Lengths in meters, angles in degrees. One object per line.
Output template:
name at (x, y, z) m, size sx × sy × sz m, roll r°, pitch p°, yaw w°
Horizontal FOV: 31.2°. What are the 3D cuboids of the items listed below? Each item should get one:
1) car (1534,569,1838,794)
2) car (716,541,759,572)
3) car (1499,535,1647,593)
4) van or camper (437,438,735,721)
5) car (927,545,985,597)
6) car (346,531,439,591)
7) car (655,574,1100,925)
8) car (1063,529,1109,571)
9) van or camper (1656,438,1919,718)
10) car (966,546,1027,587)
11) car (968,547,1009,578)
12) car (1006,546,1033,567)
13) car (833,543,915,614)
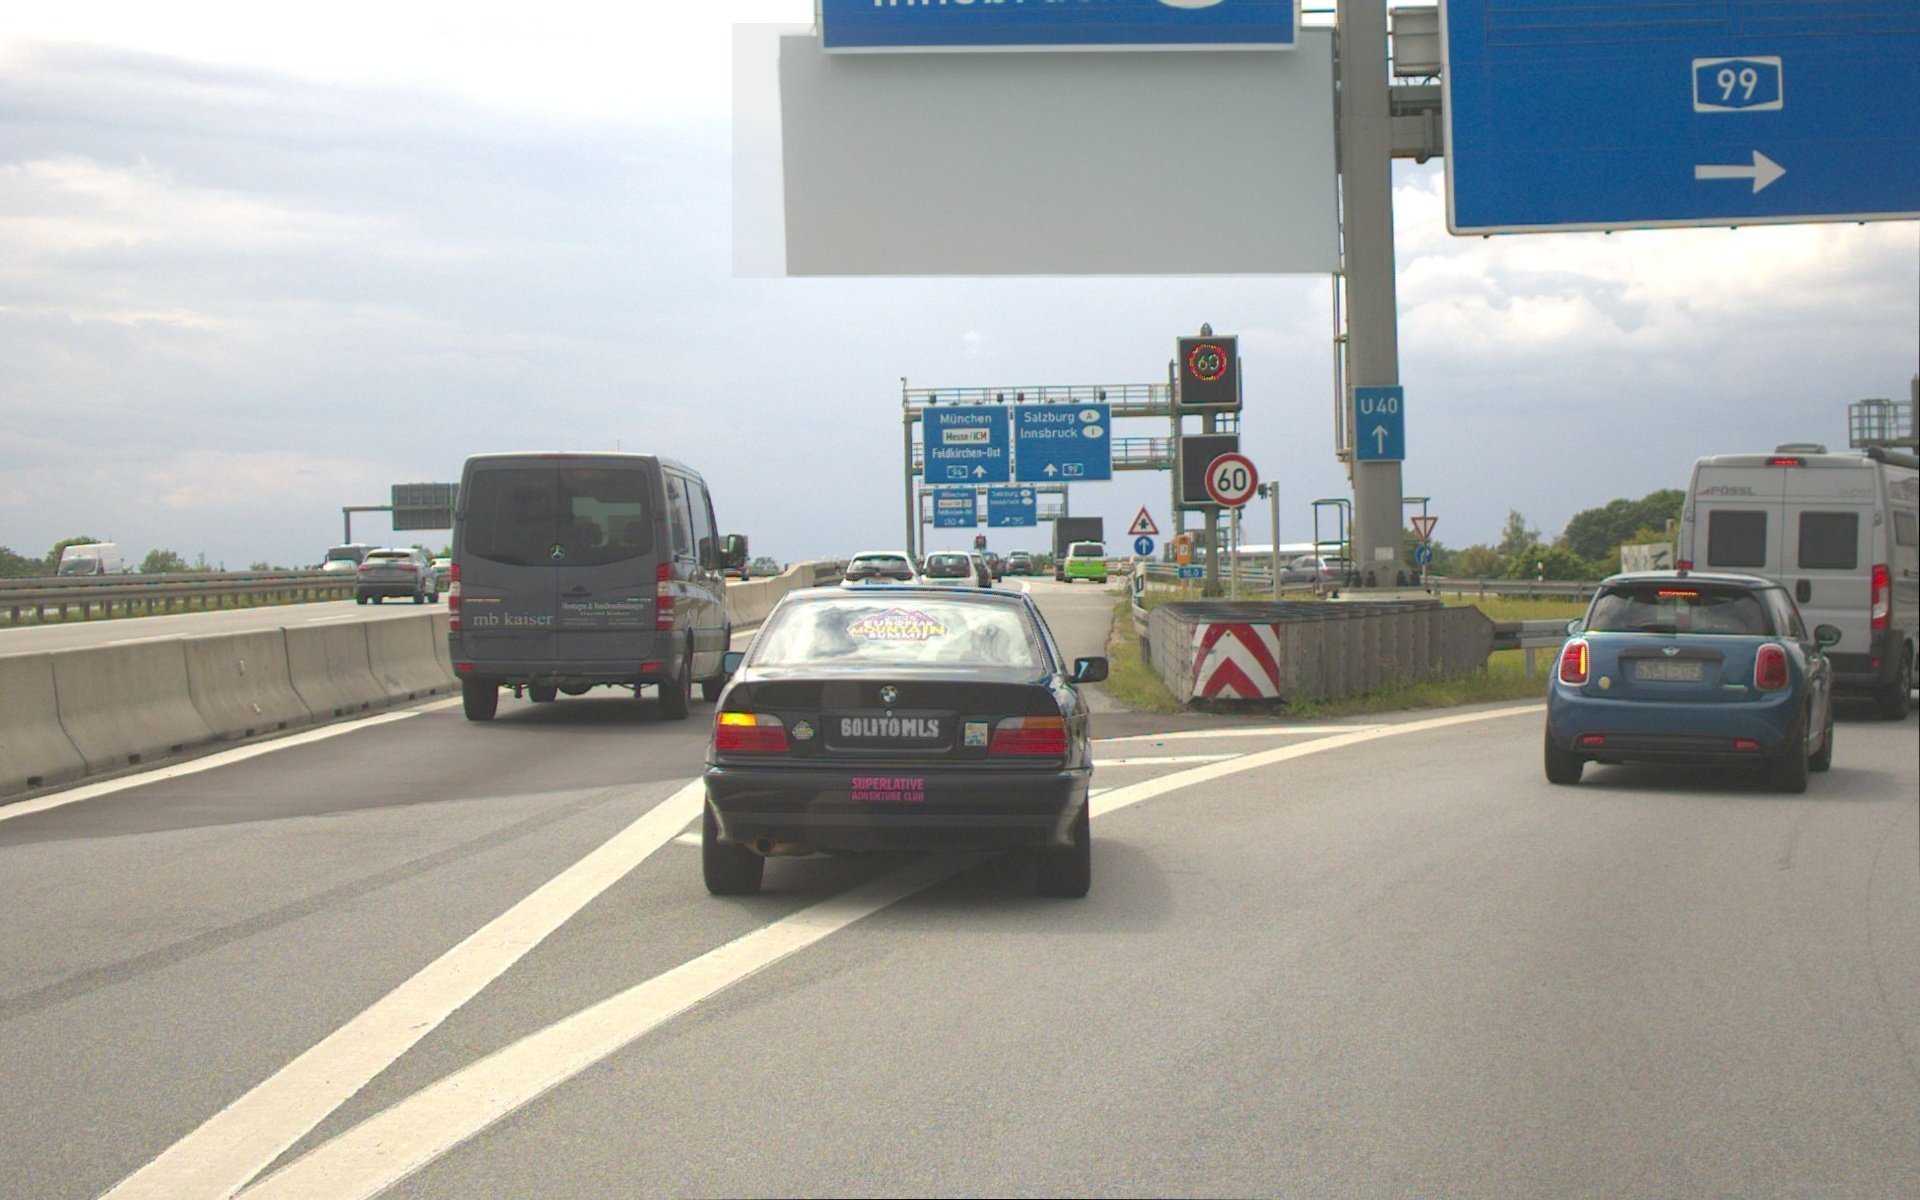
car at (5.114, 0.506, 23.919) m, size 1.731 × 1.414 × 3.663 m, roll 1°, pitch 1°, yaw 17°
car at (-12.313, -2.431, 190.695) m, size 1.993 × 1.678 × 4.866 m, roll 0°, pitch 1°, yaw 1°
car at (19.156, -1.148, 107.595) m, size 1.994 × 1.766 × 4.245 m, roll -1°, pitch 1°, yaw -41°
van or camper at (-3.334, -0.222, 31.871) m, size 1.999 × 2.362 × 6.126 m, roll 0°, pitch 1°, yaw 1°
car at (-0.104, -0.864, 100.568) m, size 1.585 × 1.478 × 3.535 m, roll 0°, pitch 1°, yaw 1°
car at (-15.908, -1.101, 96.510) m, size 1.901 × 1.634 × 4.645 m, roll 0°, pitch 1°, yaw -1°
car at (-0.280, 0.587, 15.888) m, size 1.782 × 1.373 × 4.137 m, roll 0°, pitch 1°, yaw 1°
car at (6.012, -2.402, 164.435) m, size 1.993 × 2.007 × 4.000 m, roll 0°, pitch 1°, yaw -1°
van or camper at (8.822, -0.253, 34.747) m, size 2.296 × 2.559 × 6.153 m, roll 0°, pitch 1°, yaw 23°
car at (1.351, -1.232, 125.670) m, size 1.994 × 1.463 × 4.000 m, roll 0°, pitch 1°, yaw 4°
car at (1.374, -1.804, 164.227) m, size 1.866 × 1.419 × 4.000 m, roll 0°, pitch 1°, yaw 2°
car at (4.170, -3.061, 240.925) m, size 1.803 × 1.419 × 4.000 m, roll 0°, pitch 1°, yaw 3°
car at (-1.860, -0.492, 75.455) m, size 1.701 × 1.503 × 3.840 m, roll 0°, pitch 1°, yaw 0°
